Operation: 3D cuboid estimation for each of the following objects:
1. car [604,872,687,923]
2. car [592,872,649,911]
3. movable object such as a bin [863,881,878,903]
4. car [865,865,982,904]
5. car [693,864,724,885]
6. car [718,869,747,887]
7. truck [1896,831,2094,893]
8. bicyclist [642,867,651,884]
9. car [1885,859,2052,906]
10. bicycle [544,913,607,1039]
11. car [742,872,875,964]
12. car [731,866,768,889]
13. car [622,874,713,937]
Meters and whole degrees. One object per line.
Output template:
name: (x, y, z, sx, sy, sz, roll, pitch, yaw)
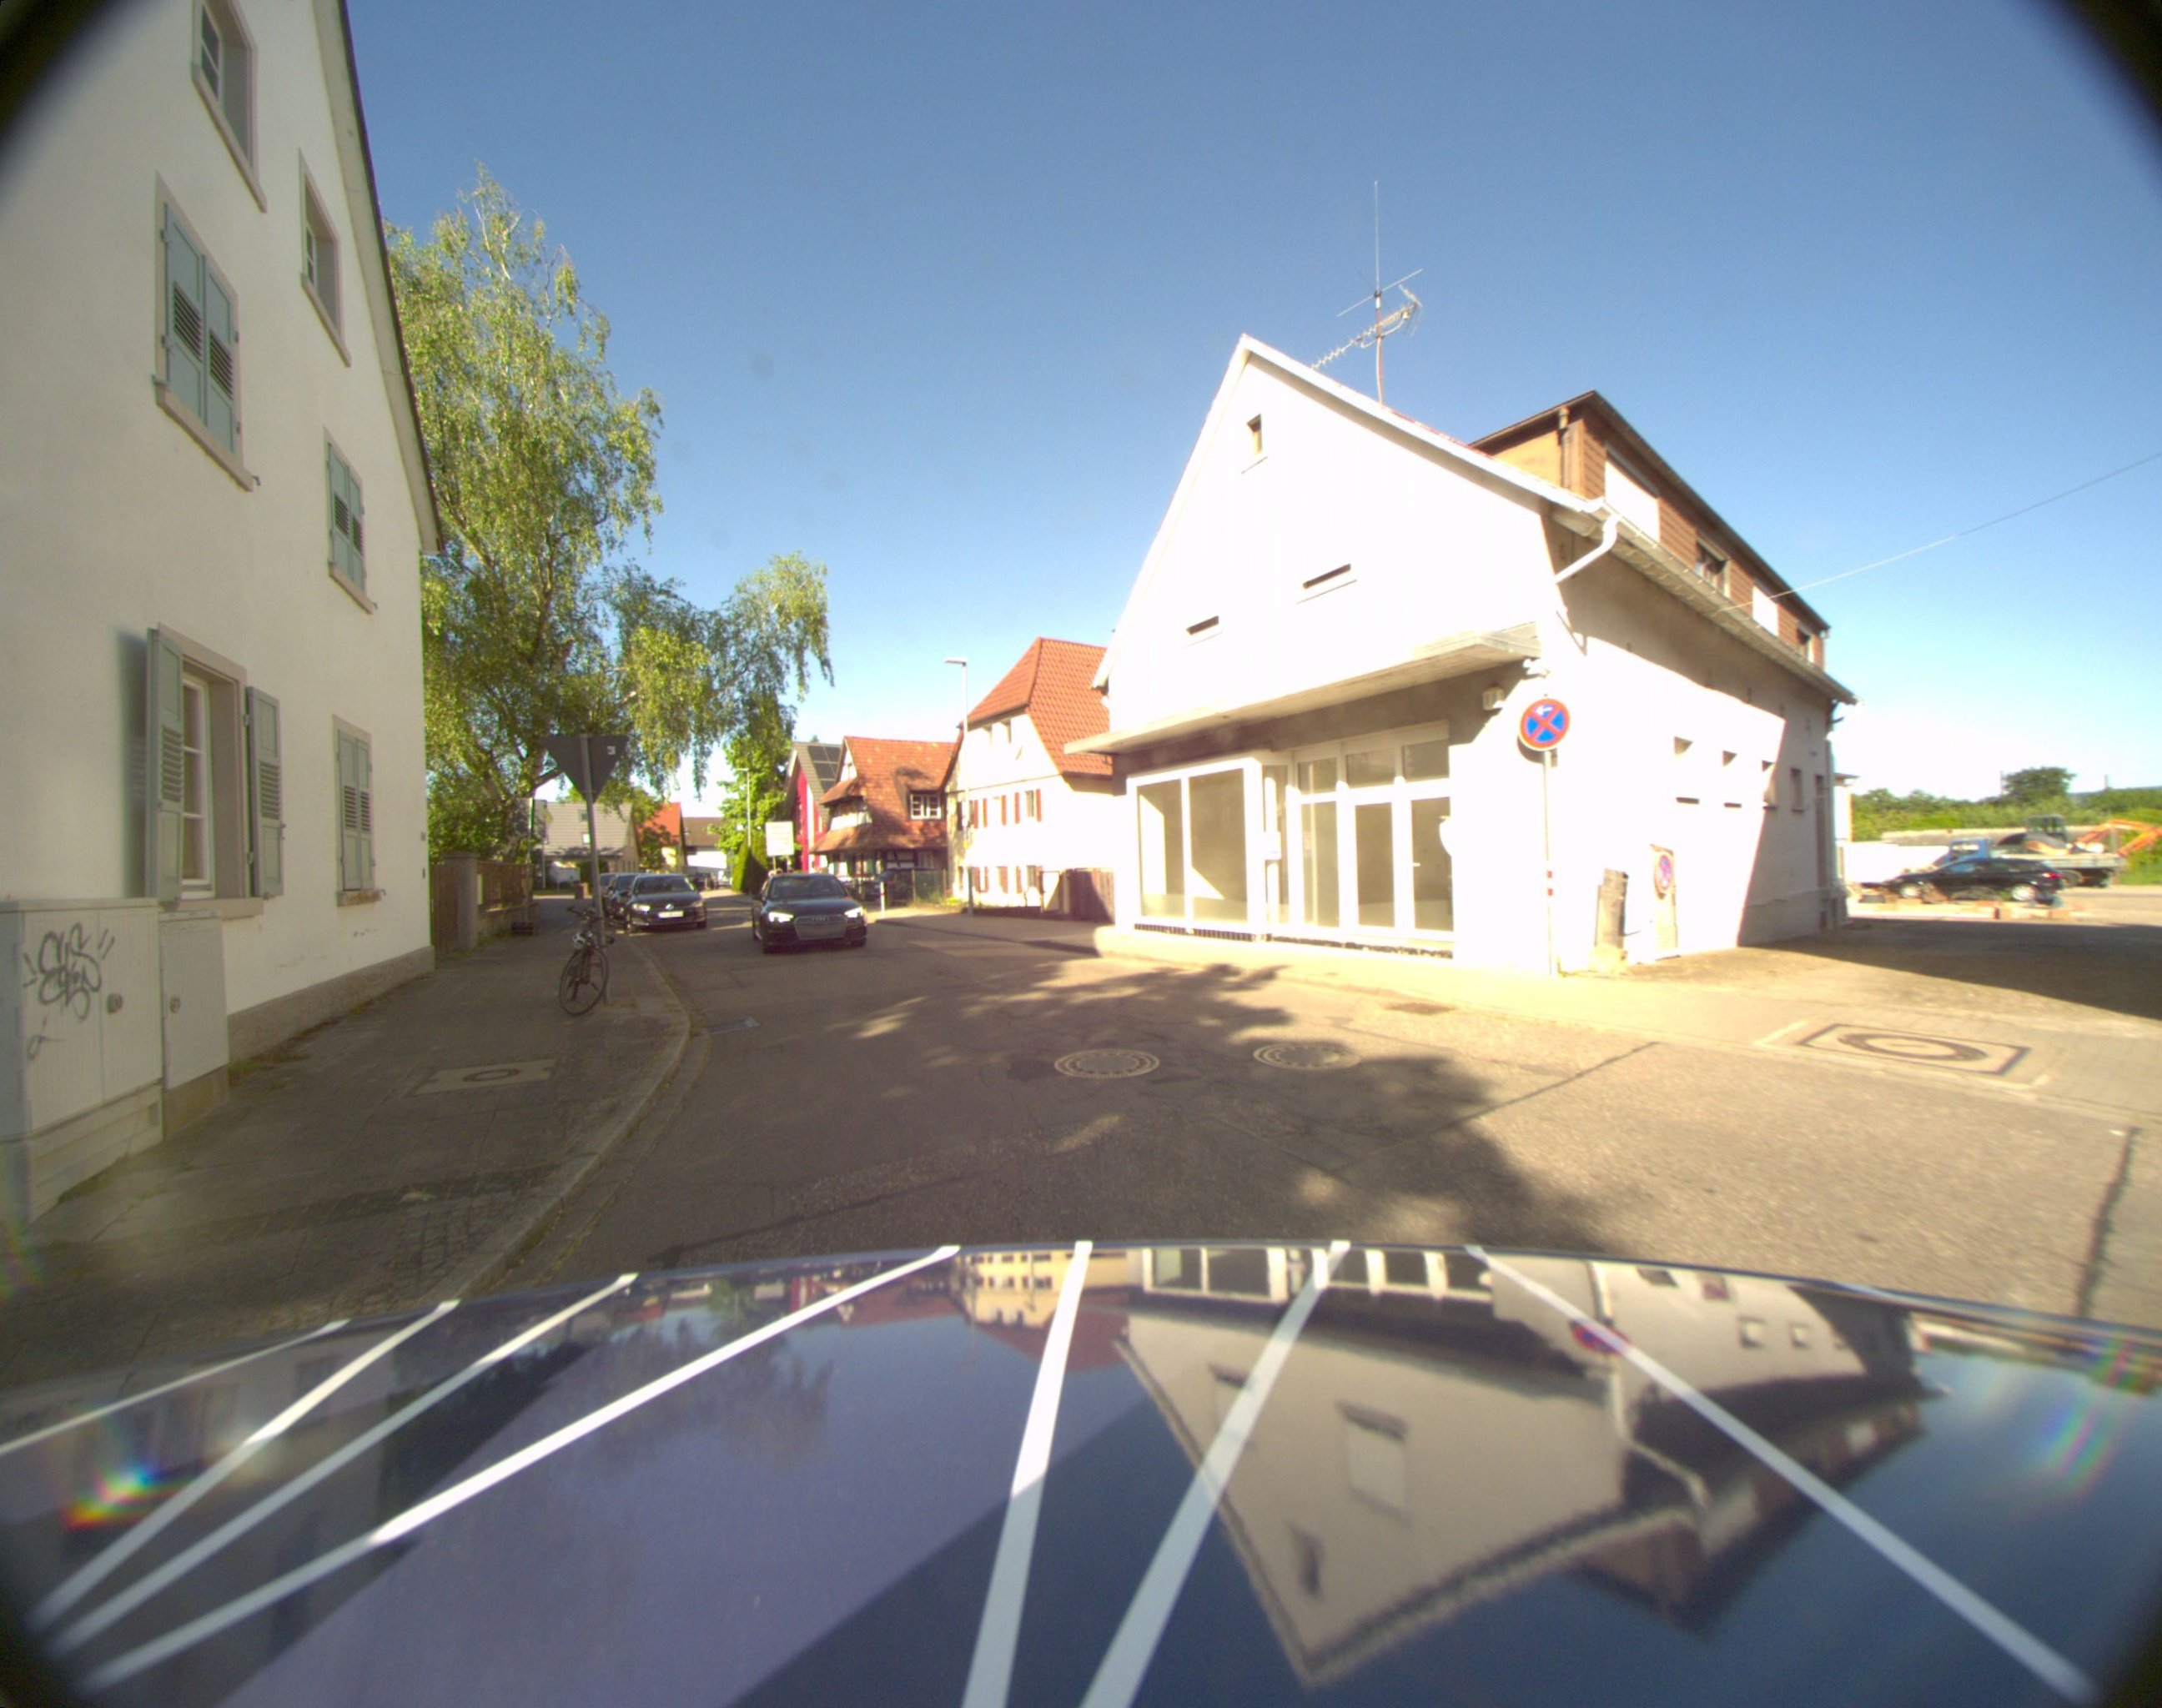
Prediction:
car: (-14.155, 1.359, 24.569, 1.816, 1.427, 4.275, -2, 0, -36)
car: (-19.225, 1.519, 31.660, 1.656, 1.470, 3.923, -2, 0, -36)
movable object such as a bin: (-8.889, 1.597, 32.058, 0.586, 0.892, 0.555, 1, -1, -14)
car: (-6.256, 1.214, 30.348, 4.181, 1.453, 1.843, 2, -2, -39)
car: (-33.567, 1.815, 68.586, 1.839, 1.661, 4.345, -3, 1, -18)
car: (-36.478, 2.468, 79.584, 1.839, 1.778, 4.349, 2, -2, -12)
truck: (46.729, 0.420, 39.074, 2.132, 2.932, 6.220, 0, 0, -30)
bicyclist: (-34.645, 1.714, 60.593, 0.583, 1.312, 0.607, 1, -1, -24)
car: (36.371, 1.151, 31.251, 1.952, 1.758, 4.252, -2, 0, -35)
bicycle: (-5.380, 1.222, 8.049, 0.437, 1.073, 1.885, -1, 0, -37)
car: (-5.522, 1.131, 15.015, 1.811, 1.469, 4.334, -2, 0, -28)
car: (-24.809, 1.734, 57.040, 1.824, 1.586, 4.440, -2, 0, -14)
car: (-11.084, 1.278, 20.231, 1.816, 1.427, 4.275, -2, 0, -32)
